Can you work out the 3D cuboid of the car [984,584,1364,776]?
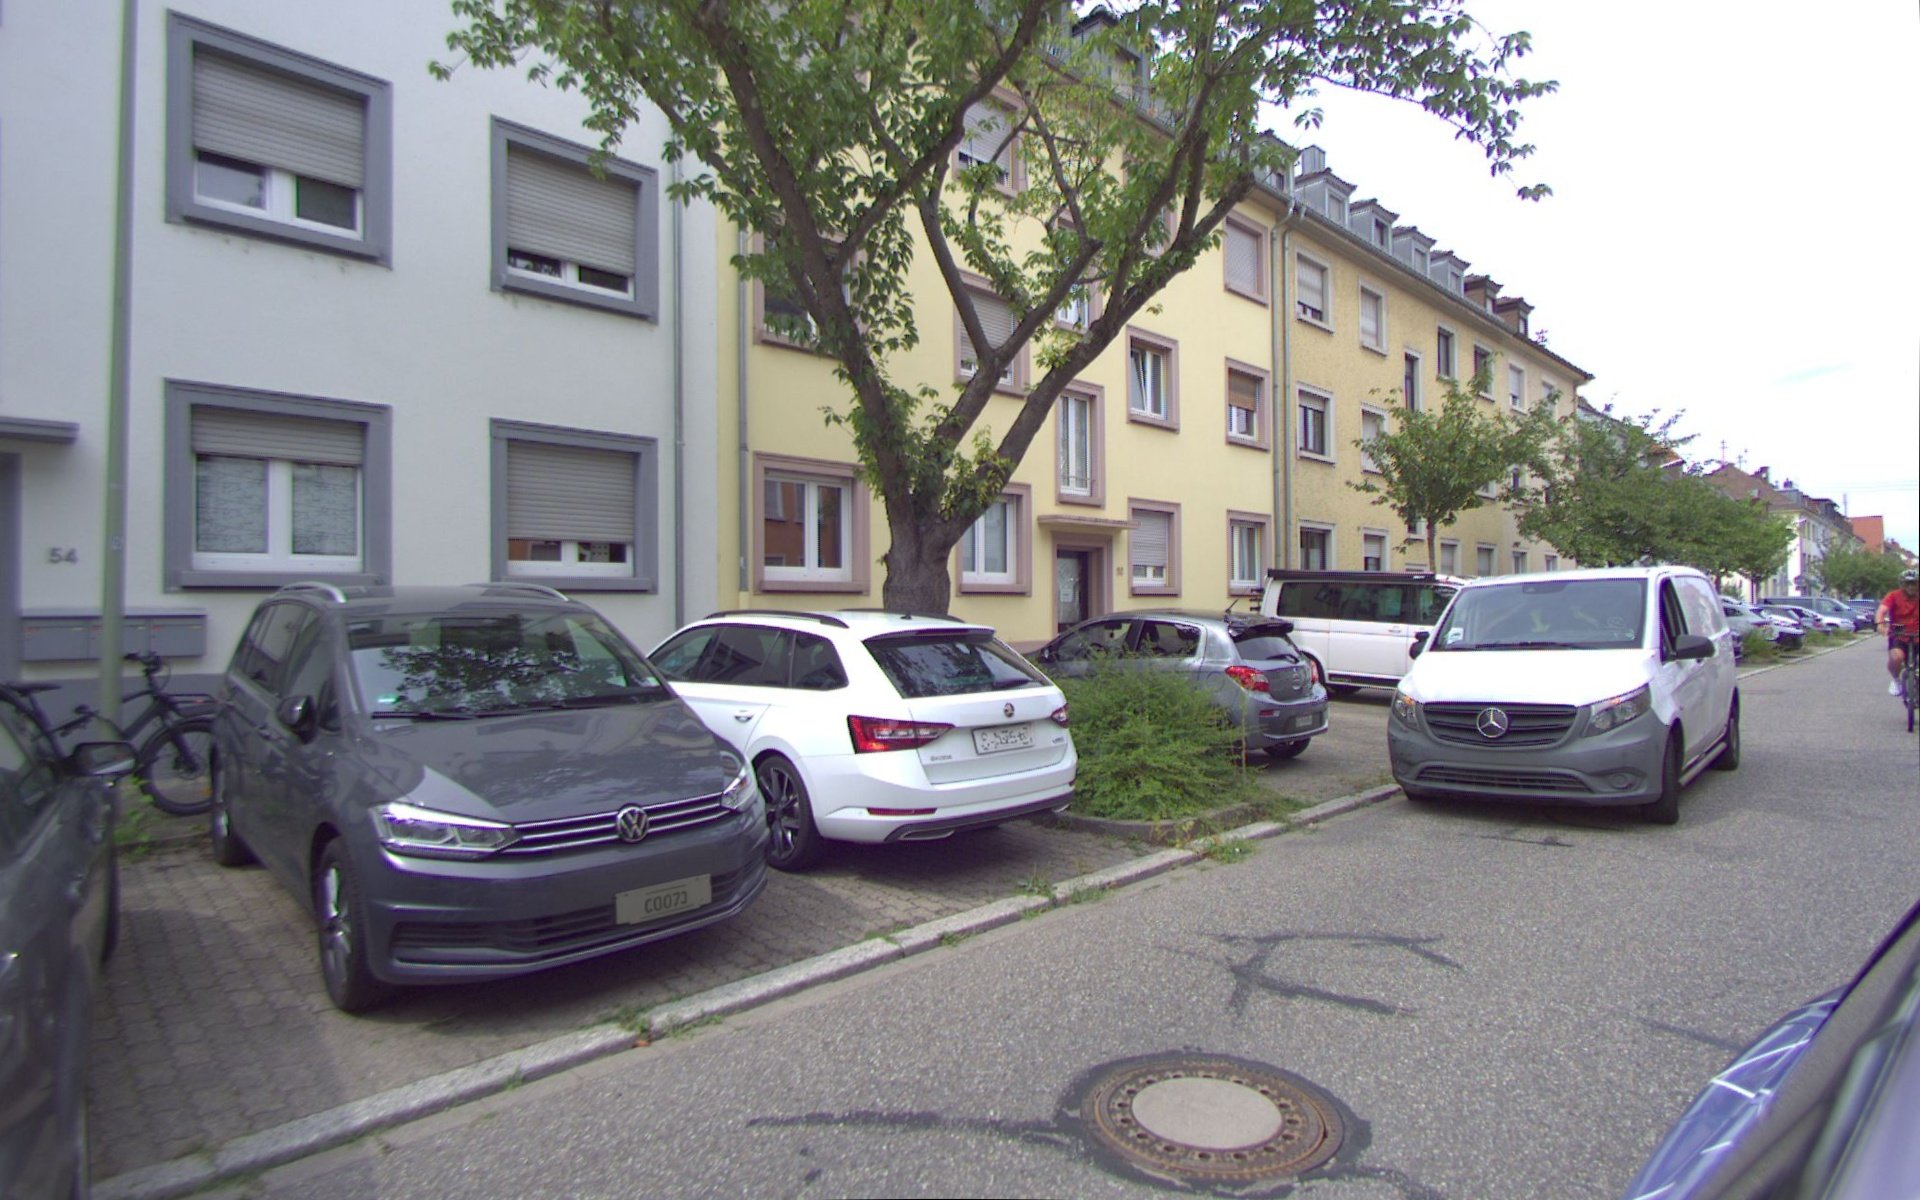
[{"bbox_3d":[2.109,0.654,10.542,1.785,1.593,3.481,0,2,-44],"label":"car"}]

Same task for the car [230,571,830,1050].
[{"bbox_3d":[-2.532,0.646,5.337,1.611,1.555,3.990,0,2,-44],"label":"car"}]

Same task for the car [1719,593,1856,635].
[{"bbox_3d":[36.523,0.570,44.782,1.837,1.632,4.404,0,2,-38],"label":"car"}]

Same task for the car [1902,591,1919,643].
[{"bbox_3d":[32.697,0.526,33.673,4.757,1.624,1.784,-1,0,-45],"label":"car"}]

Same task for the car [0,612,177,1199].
[{"bbox_3d":[-3.324,0.852,2.548,1.737,1.473,3.990,0,2,-44],"label":"car"}]

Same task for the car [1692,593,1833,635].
[{"bbox_3d":[33.122,0.528,41.858,1.683,1.519,4.395,-1,2,-45],"label":"car"}]

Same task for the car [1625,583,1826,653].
[{"bbox_3d":[23.638,0.473,31.411,1.820,1.933,4.743,0,2,-44],"label":"car"}]

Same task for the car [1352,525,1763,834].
[{"bbox_3d":[5.350,0.506,8.736,1.993,1.939,4.630,-3,-2,44],"label":"car"}]

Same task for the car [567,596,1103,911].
[{"bbox_3d":[-1.097,0.747,6.978,1.611,1.437,3.990,0,2,-44],"label":"car"}]

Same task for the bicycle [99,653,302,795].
[{"bbox_3d":[-6.092,0.957,8.157,1.279,1.007,0.358,0,-1,-43],"label":"bicycle"}]

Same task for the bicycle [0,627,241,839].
[{"bbox_3d":[-5.910,0.814,6.354,0.649,1.233,2.196,-1,-1,40],"label":"bicycle"}]

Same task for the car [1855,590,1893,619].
[{"bbox_3d":[60.550,0.266,67.057,3.387,1.851,1.642,0,-1,-45],"label":"car"}]

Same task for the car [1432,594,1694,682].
[{"bbox_3d":[11.736,0.653,19.867,4.094,1.432,1.821,2,2,45],"label":"car"}]

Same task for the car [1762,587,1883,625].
[{"bbox_3d":[45.415,0.274,53.373,1.840,1.850,4.712,0,2,-43],"label":"car"}]

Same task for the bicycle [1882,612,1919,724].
[{"bbox_3d":[11.633,0.783,12.161,1.905,1.243,0.692,-1,-1,-45],"label":"bicycle"}]

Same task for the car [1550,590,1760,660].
[{"bbox_3d":[18.320,0.578,26.828,1.820,1.617,4.312,0,2,-44],"label":"car"}]

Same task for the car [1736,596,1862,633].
[{"bbox_3d":[39.593,0.633,47.845,1.840,1.555,4.397,0,2,-44],"label":"car"}]

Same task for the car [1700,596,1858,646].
[{"bbox_3d":[28.456,0.680,35.252,1.683,1.555,4.111,0,2,-45],"label":"car"}]

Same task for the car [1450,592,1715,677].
[{"bbox_3d":[13.209,0.636,21.678,4.549,1.529,1.821,2,2,45],"label":"car"}]

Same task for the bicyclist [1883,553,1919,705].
[{"bbox_3d":[11.659,0.336,12.201,0.970,1.793,0.692,0,-1,-44],"label":"bicyclist"}]

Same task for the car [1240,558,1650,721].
[{"bbox_3d":[7.123,0.419,15.303,5.227,2.048,2.042,2,2,43],"label":"car"}]

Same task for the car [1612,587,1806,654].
[{"bbox_3d":[21.732,0.534,29.493,1.820,1.704,4.312,-2,3,-44],"label":"car"}]

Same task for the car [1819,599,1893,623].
[{"bbox_3d":[56.134,0.673,63.425,3.430,1.465,1.621,-2,-1,43],"label":"car"}]
